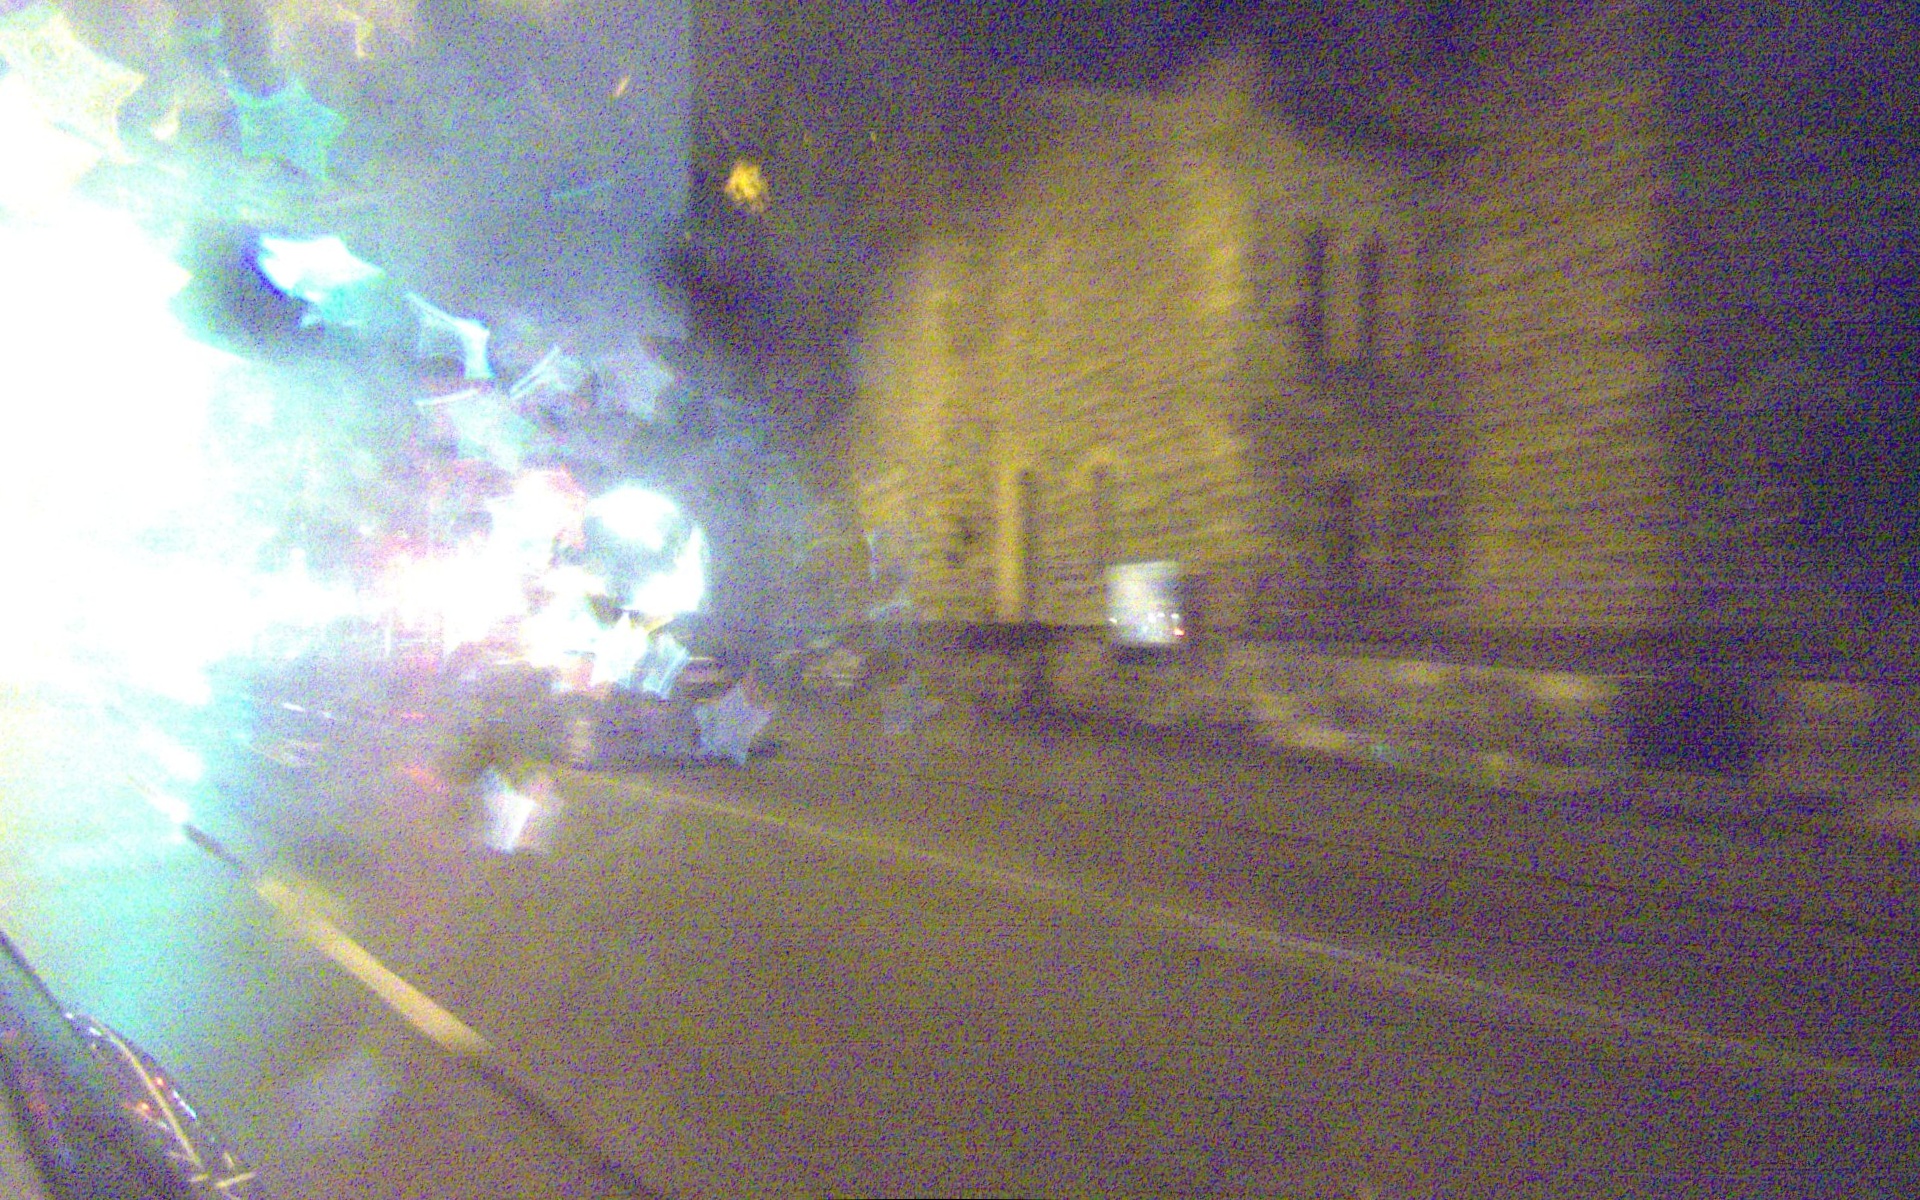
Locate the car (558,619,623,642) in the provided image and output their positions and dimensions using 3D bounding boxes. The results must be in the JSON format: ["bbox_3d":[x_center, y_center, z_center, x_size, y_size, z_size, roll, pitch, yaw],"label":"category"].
[{"bbox_3d":[-25.885,2.152,70.934,4.147,1.578,1.855,1,-2,-21],"label":"car"}]

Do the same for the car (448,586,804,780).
[{"bbox_3d":[-3.768,0.774,10.966,4.411,1.683,1.792,-1,-2,43],"label":"car"}]

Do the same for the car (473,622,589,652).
[{"bbox_3d":[-21.070,1.816,49.866,4.983,1.436,2.005,1,-2,-13],"label":"car"}]

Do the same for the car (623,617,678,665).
[{"bbox_3d":[-12.160,1.620,39.638,1.671,1.741,4.013,2,-3,-22],"label":"car"}]

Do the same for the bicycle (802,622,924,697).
[{"bbox_3d":[-1.595,0.967,16.789,1.936,1.189,0.543,1,-2,-28],"label":"bicycle"}]
